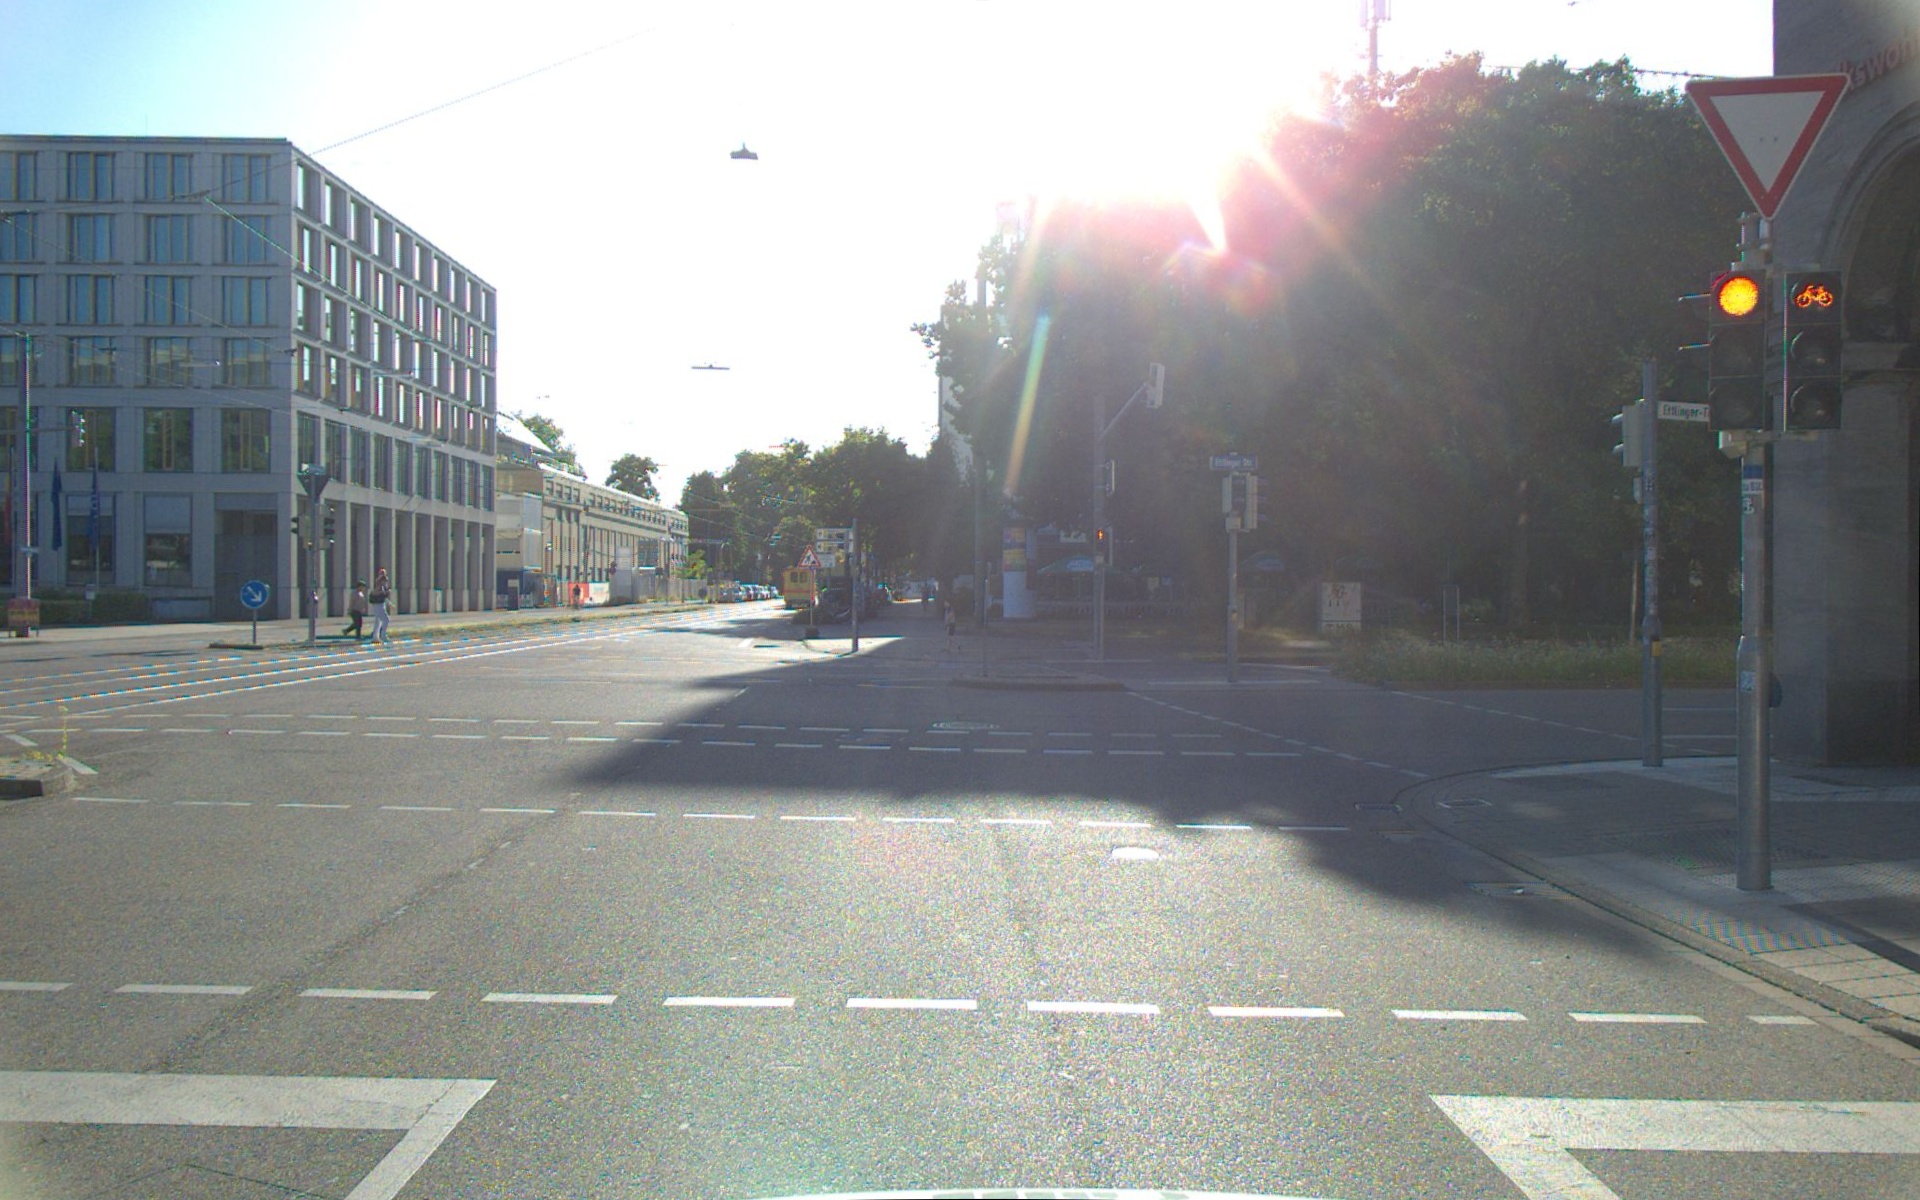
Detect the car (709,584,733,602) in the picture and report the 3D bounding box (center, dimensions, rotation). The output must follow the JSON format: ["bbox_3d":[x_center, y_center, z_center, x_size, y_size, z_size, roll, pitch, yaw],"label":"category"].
[{"bbox_3d":[-22.520,-0.651,155.987,1.856,1.635,4.498,0,0,-3],"label":"car"}]

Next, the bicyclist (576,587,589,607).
[{"bbox_3d":[-25.404,-0.209,111.361,0.675,1.351,1.000,1,0,-1],"label":"bicyclist"}]

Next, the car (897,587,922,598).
[{"bbox_3d":[-6.478,-0.919,211.026,3.153,1.285,1.372,1,0,-2],"label":"car"}]

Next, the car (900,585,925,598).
[{"bbox_3d":[-6.118,-1.055,213.322,3.152,1.616,1.445,1,0,-5],"label":"car"}]

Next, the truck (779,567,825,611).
[{"bbox_3d":[-11.185,-0.769,117.623,2.661,3.068,6.488,0,0,-1],"label":"truck"}]

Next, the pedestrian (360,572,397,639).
[{"bbox_3d":[-15.647,0.150,44.520,0.732,1.792,0.678,-1,-1,4],"label":"pedestrian"}]

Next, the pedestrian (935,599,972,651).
[{"bbox_3d":[-0.166,0.650,43.602,0.752,1.340,0.993,0,0,-15],"label":"pedestrian"}]

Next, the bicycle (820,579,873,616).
[{"bbox_3d":[-5.571,-0.135,81.250,2.495,1.774,1.037,1,0,-1],"label":"bicycle"}]

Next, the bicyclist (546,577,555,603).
[{"bbox_3d":[-32.139,-0.803,129.716,0.559,2.059,0.761,0,0,-2],"label":"bicyclist"}]

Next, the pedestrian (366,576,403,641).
[{"bbox_3d":[-14.879,0.215,42.777,0.777,1.673,0.620,0,0,-5],"label":"pedestrian"}]

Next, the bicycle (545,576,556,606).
[{"bbox_3d":[-32.143,-0.674,129.737,0.559,2.336,1.422,0,0,-2],"label":"bicycle"}]

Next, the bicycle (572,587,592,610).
[{"bbox_3d":[-25.451,-0.113,111.289,0.675,1.538,2.944,1,0,-1],"label":"bicycle"}]

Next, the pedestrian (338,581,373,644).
[{"bbox_3d":[-16.015,0.327,43.809,0.680,1.673,0.621,0,0,0],"label":"pedestrian"}]
